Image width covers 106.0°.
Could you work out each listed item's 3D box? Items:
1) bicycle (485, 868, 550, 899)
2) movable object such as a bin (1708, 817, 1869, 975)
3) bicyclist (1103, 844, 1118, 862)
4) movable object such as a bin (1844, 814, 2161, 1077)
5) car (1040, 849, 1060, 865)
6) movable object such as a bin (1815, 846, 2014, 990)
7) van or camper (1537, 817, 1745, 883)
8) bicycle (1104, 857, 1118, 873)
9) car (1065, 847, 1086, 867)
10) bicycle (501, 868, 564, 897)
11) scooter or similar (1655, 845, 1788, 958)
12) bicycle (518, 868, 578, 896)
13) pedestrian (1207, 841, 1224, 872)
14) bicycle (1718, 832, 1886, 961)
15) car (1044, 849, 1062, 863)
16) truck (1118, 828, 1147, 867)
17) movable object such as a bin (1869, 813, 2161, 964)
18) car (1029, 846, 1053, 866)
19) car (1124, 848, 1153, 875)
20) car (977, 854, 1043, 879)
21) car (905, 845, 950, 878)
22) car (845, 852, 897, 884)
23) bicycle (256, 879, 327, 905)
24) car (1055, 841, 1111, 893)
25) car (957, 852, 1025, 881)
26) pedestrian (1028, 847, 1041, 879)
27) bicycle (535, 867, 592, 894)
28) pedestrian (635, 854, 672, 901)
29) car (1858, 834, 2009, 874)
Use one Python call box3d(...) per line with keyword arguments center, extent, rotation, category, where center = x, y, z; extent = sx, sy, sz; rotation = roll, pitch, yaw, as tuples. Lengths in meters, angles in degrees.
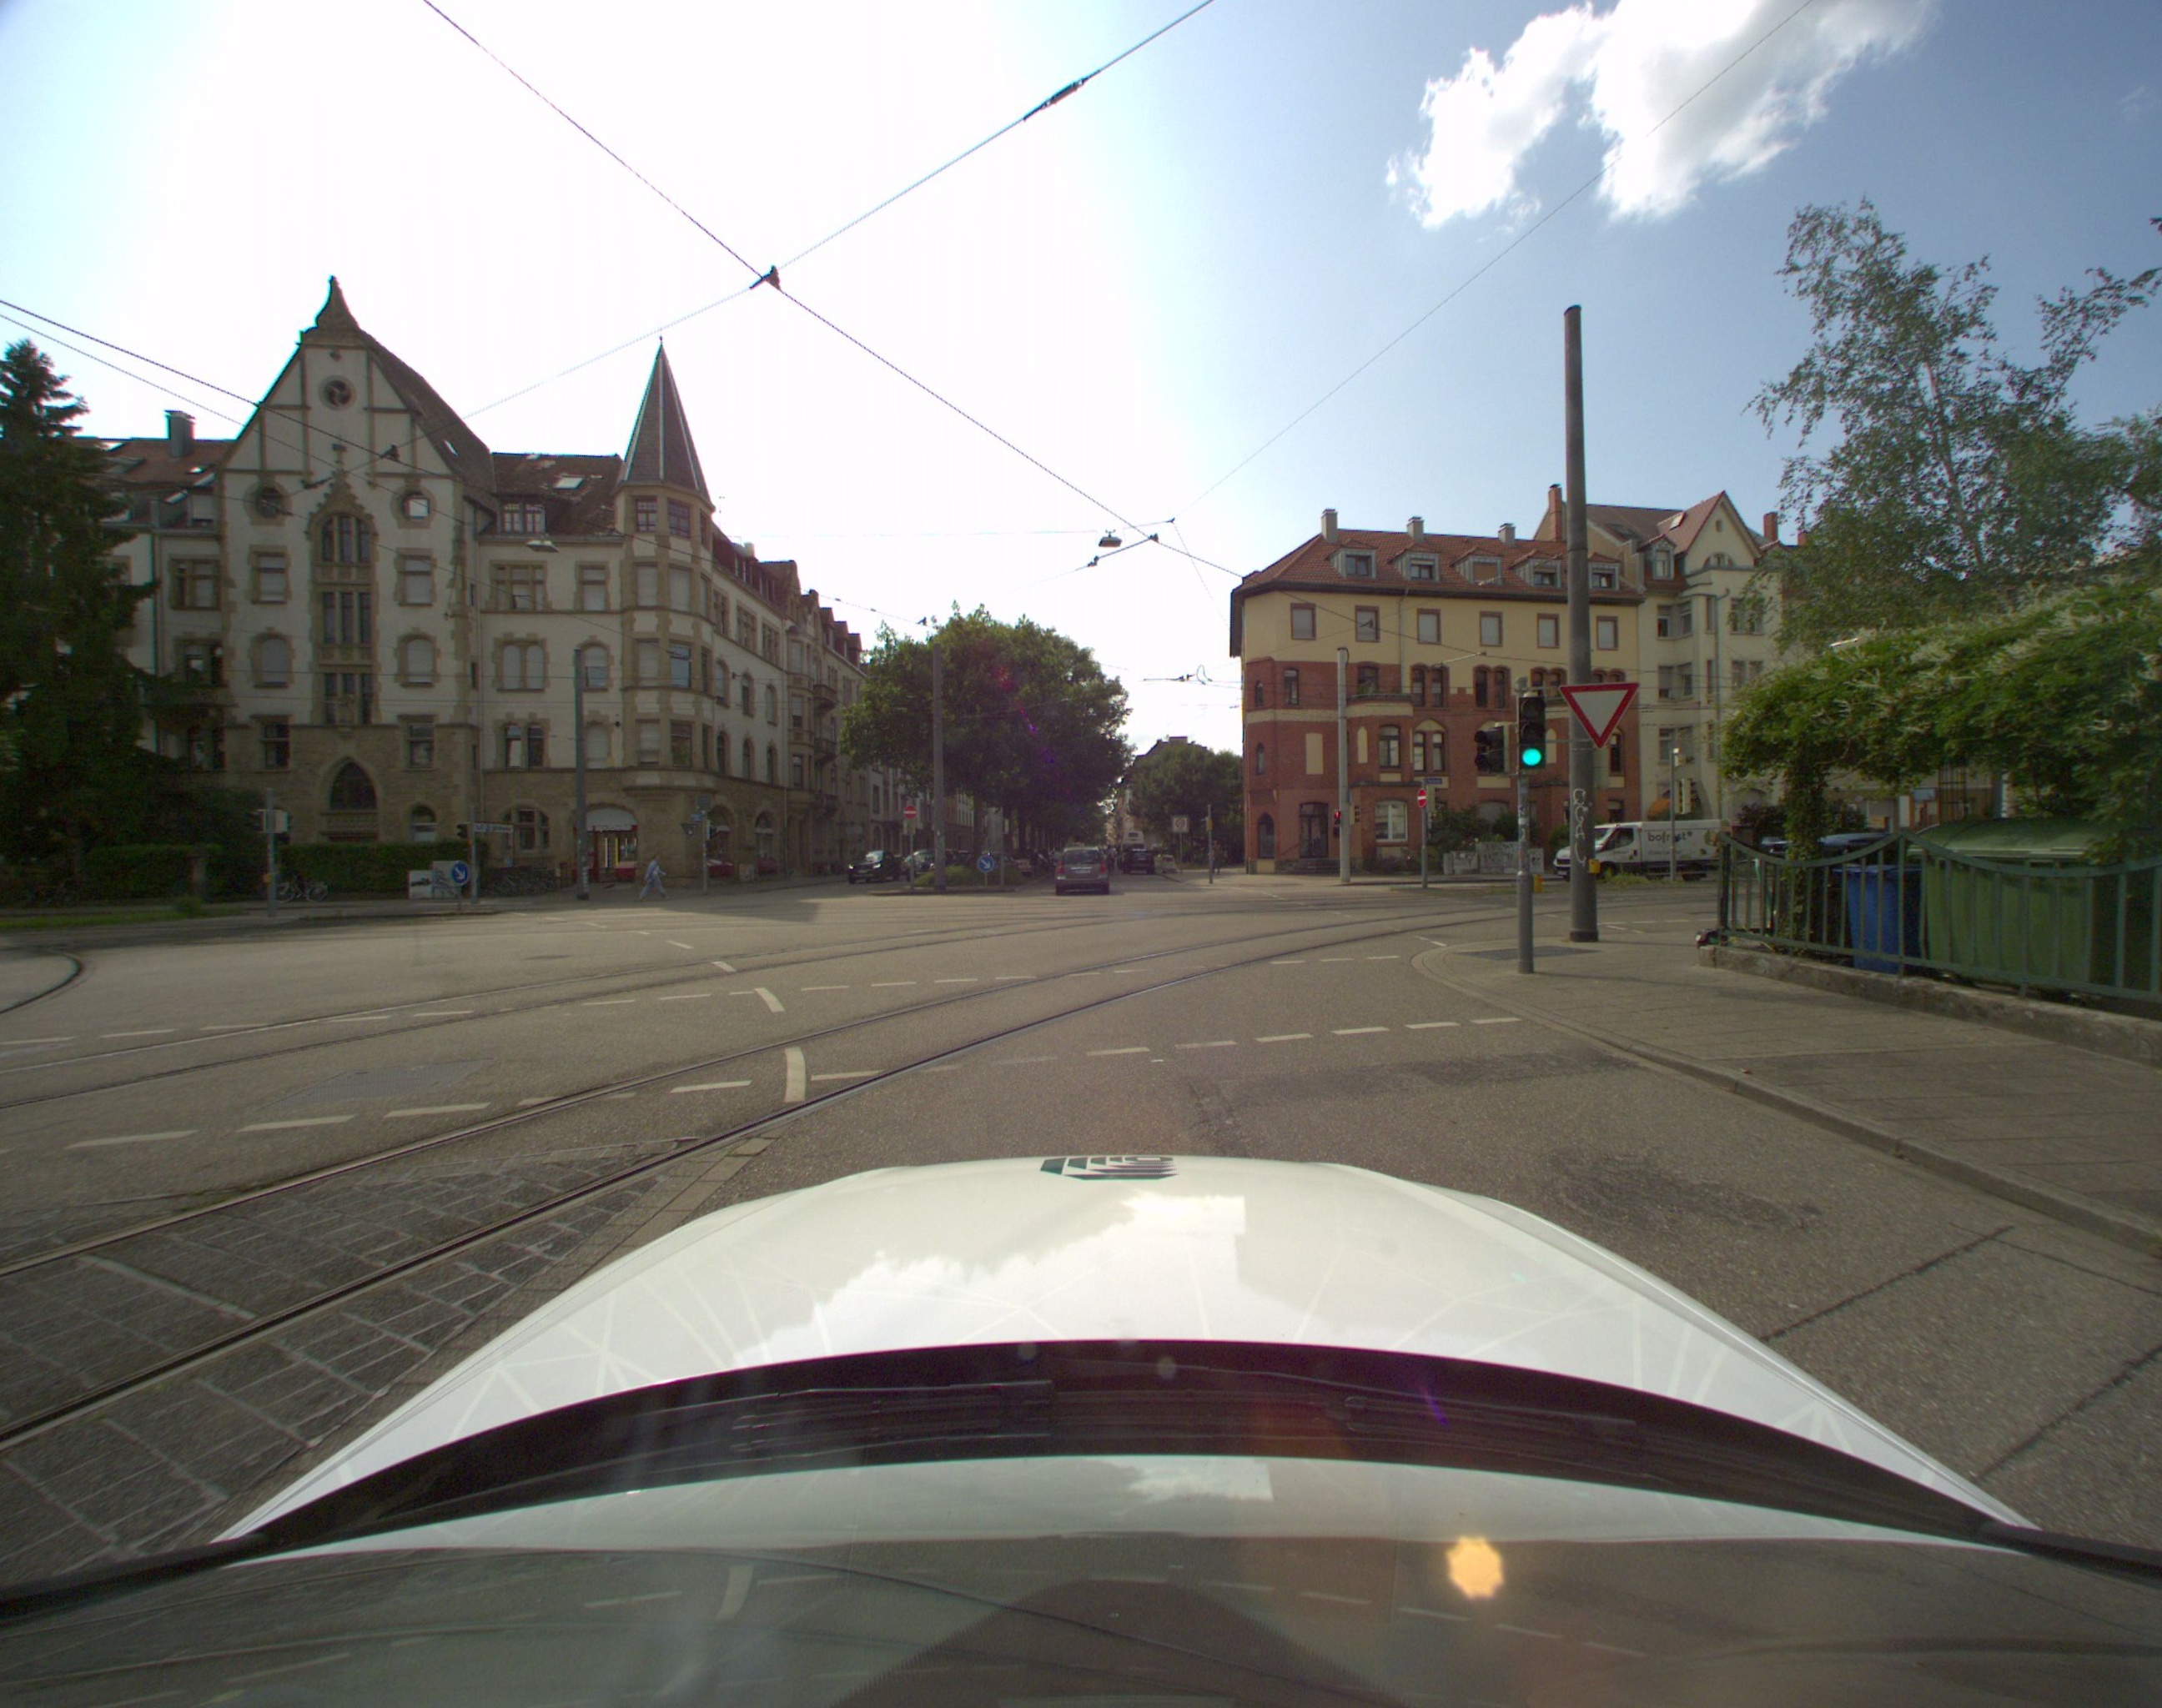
box3d(center=(-21.955, 1.144, 31.757), extent=(1.915, 1.081, 0.776), rotation=(-2, 0, -10), category="bicycle")
box3d(center=(7.102, 0.393, 8.224), extent=(0.714, 1.472, 0.980), rotation=(-2, 0, -7), category="movable object such as a bin")
box3d(center=(1.880, -0.085, 51.015), extent=(0.832, 1.082, 1.402), rotation=(-2, 0, 5), category="bicyclist")
box3d(center=(6.881, 0.511, 5.757), extent=(1.045, 1.539, 2.102), rotation=(-2, 0, 3), category="movable object such as a bin")
box3d(center=(-3.110, 0.299, 82.937), extent=(1.745, 1.517, 3.501), rotation=(-1, 0, 2), category="car")
box3d(center=(7.267, 0.535, 7.145), extent=(1.024, 1.174, 0.660), rotation=(-2, 0, 3), category="movable object such as a bin")
box3d(center=(20.747, -0.157, 30.314), extent=(6.515, 2.253, 2.243), rotation=(-1, 0, -6), category="van or camper")
box3d(center=(1.897, 0.689, 50.892), extent=(0.745, 0.958, 2.302), rotation=(-2, 0, 5), category="bicycle")
box3d(center=(-0.457, 0.283, 72.705), extent=(1.716, 1.706, 3.679), rotation=(-2, 0, 2), category="car")
box3d(center=(-22.218, 1.148, 33.008), extent=(1.915, 1.081, 0.776), rotation=(-2, 0, -10), category="bicycle")
box3d(center=(7.350, 0.531, 9.362), extent=(1.192, 1.217, 0.462), rotation=(-2, 0, -6), category="scooter or similar")
box3d(center=(-22.343, 1.148, 34.147), extent=(1.915, 1.081, 0.776), rotation=(-2, 0, -10), category="bicycle")
box3d(center=(7.299, 0.137, 44.307), extent=(0.864, 1.656, 0.737), rotation=(-1, 0, 6), category="pedestrian")
box3d(center=(7.993, 0.454, 9.031), extent=(1.827, 1.329, 0.276), rotation=(-2, 0, -10), category="bicycle")
box3d(center=(-3.093, 0.238, 89.964), extent=(1.745, 1.517, 3.501), rotation=(-1, 0, 2), category="car")
box3d(center=(4.164, -0.494, 65.582), extent=(2.113, 2.970, 4.006), rotation=(-2, 0, 5), category="truck")
box3d(center=(9.786, 0.329, 8.559), extent=(2.090, 1.413, 1.051), rotation=(-2, 0, -6), category="movable object such as a bin")
box3d(center=(-3.361, 0.179, 69.265), extent=(1.745, 1.633, 3.501), rotation=(-1, 0, 2), category="car")
box3d(center=(3.770, 0.444, 52.728), extent=(1.744, 1.633, 3.504), rotation=(-1, 0, 5), category="car")
box3d(center=(-4.167, 0.721, 47.577), extent=(1.984, 1.339, 3.954), rotation=(-1, 0, -38), category="car")
box3d(center=(-8.707, 0.391, 46.368), extent=(1.990, 1.728, 3.994), rotation=(-2, 0, -4), category="car")
box3d(center=(-11.480, 0.718, 44.836), extent=(1.990, 1.618, 3.994), rotation=(-2, 0, -4), category="car")
box3d(center=(-28.930, 1.381, 29.873), extent=(1.915, 0.848, 0.469), rotation=(-2, 0, -10), category="bicycle")
box3d(center=(0.123, 0.401, 27.672), extent=(1.716, 1.605, 3.679), rotation=(-2, 0, 2), category="car")
box3d(center=(-5.006, 0.683, 44.971), extent=(1.984, 1.494, 3.954), rotation=(-1, 0, -38), category="car")
box3d(center=(-2.570, 0.485, 45.160), extent=(0.649, 1.725, 0.495), rotation=(-1, 0, 5), category="pedestrian")
box3d(center=(-22.481, 1.148, 35.392), extent=(1.915, 1.081, 0.776), rotation=(-2, 0, -10), category="bicycle")
box3d(center=(-15.975, 0.858, 30.428), extent=(1.030, 1.722, 0.767), rotation=(-1, 0, -43), category="pedestrian")
box3d(center=(32.941, -0.013, 31.535), extent=(3.997, 1.439, 1.933), rotation=(-1, 0, -3), category="car")
